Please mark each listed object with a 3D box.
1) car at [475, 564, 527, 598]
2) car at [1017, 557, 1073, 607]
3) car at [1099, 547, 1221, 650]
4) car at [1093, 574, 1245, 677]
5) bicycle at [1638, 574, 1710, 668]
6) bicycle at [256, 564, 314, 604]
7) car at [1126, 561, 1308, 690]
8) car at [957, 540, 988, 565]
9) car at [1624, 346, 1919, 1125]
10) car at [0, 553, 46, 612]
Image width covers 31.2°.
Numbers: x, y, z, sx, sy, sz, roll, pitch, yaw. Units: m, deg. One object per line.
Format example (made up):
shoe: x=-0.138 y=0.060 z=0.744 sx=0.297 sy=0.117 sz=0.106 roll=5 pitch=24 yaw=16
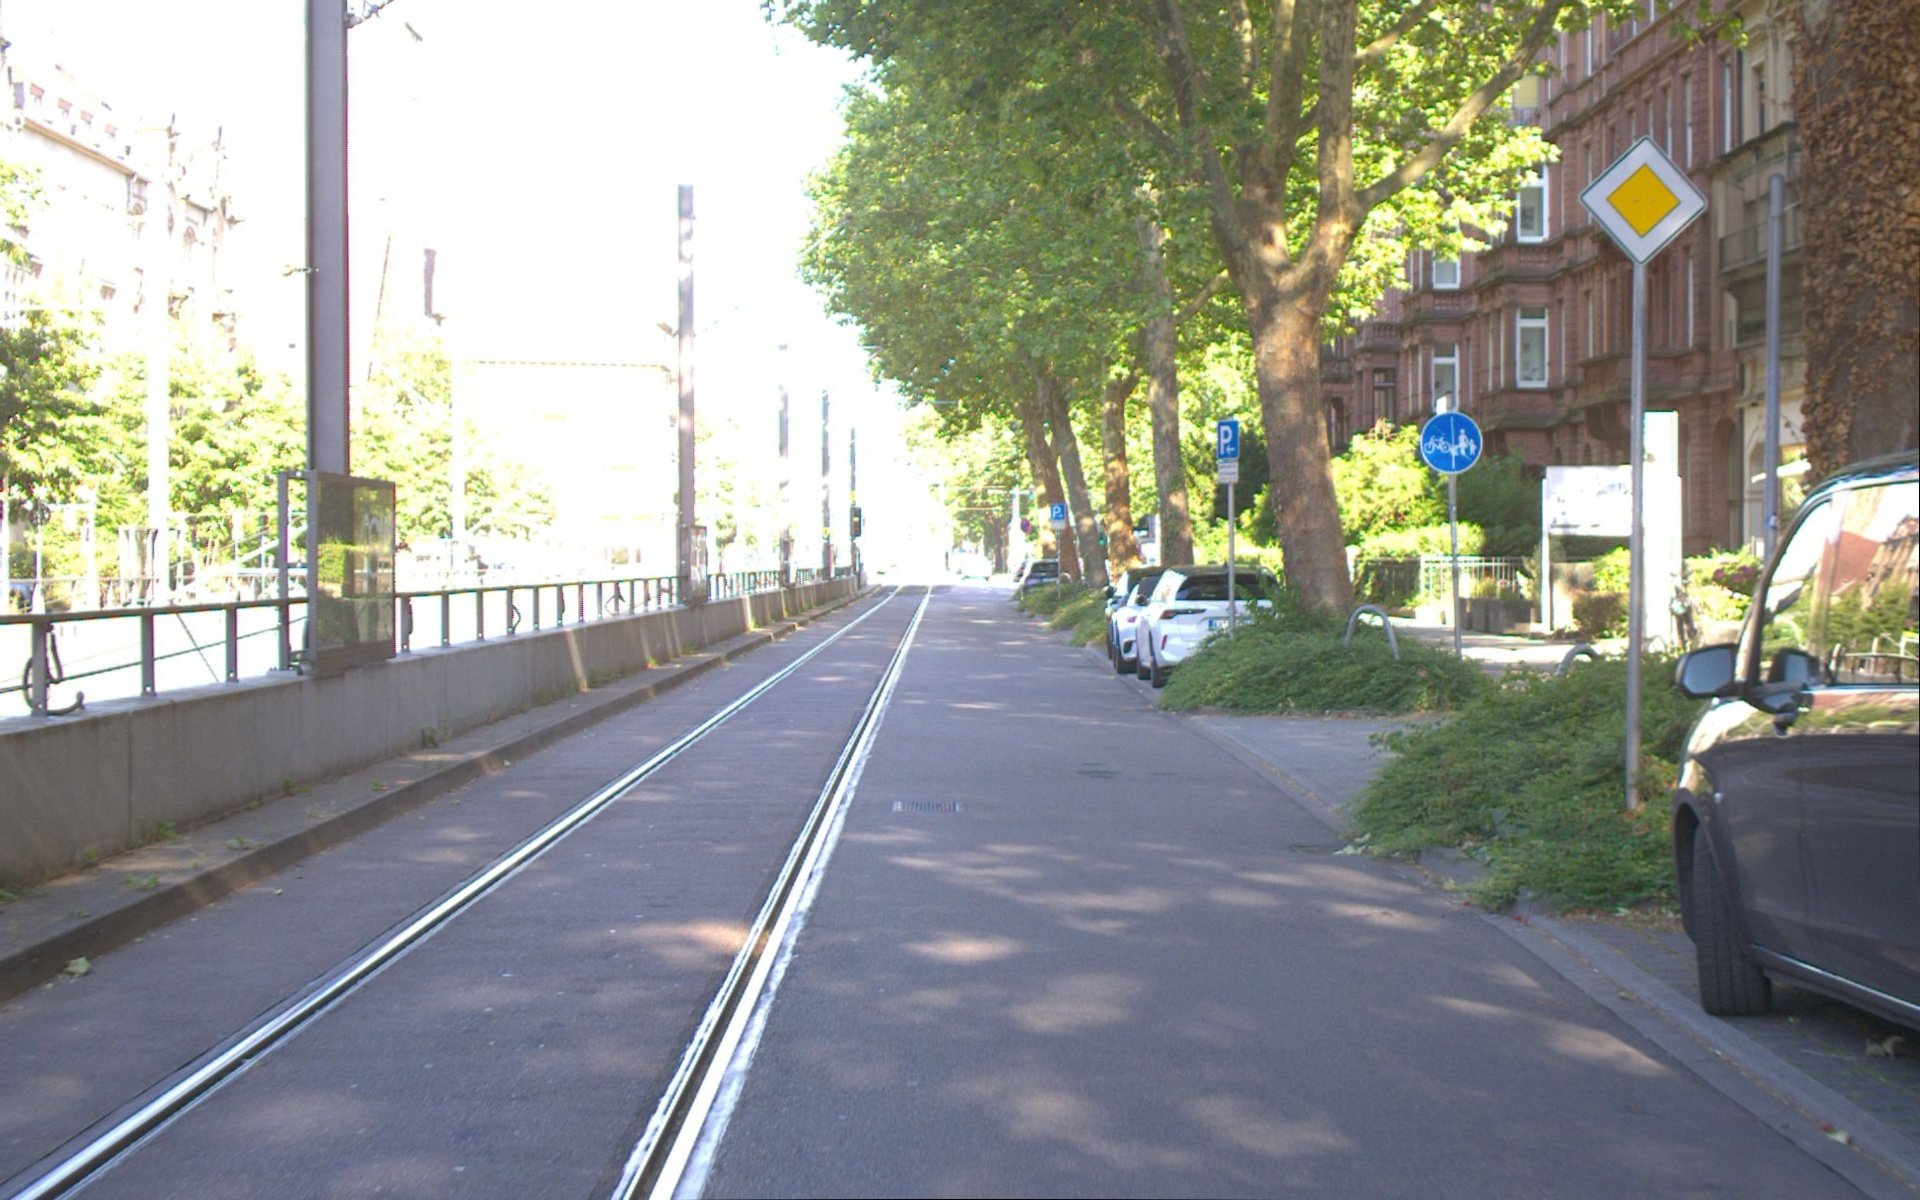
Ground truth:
car: x=-22.450 y=-0.962 z=168.231 sx=1.716 sy=1.550 sz=4.510 roll=3 pitch=1 yaw=2
car: x=2.734 y=-0.590 z=111.736 sx=1.616 sy=1.582 sz=4.417 roll=-1 pitch=1 yaw=-1
car: x=3.111 y=-0.048 z=54.217 sx=1.732 sy=1.531 sz=4.805 roll=1 pitch=1 yaw=1
car: x=2.829 y=0.322 z=47.237 sx=1.830 sy=1.322 sz=4.000 roll=0 pitch=1 yaw=0
bicycle: x=9.038 y=0.254 z=43.573 sx=0.475 sy=1.139 sz=1.896 roll=-2 pitch=1 yaw=0
bicycle: x=-21.798 y=-0.531 z=111.070 sx=1.731 sy=1.275 sz=0.599 roll=0 pitch=0 yaw=6
car: x=3.077 y=0.266 z=42.013 sx=1.802 sy=1.472 sz=4.647 roll=0 pitch=1 yaw=-1
car: x=0.749 y=-2.904 z=209.518 sx=1.745 sy=1.457 sz=3.645 roll=3 pitch=1 yaw=-1
car: x=3.442 y=0.326 z=9.685 sx=1.993 sy=2.007 sz=5.202 roll=0 pitch=1 yaw=-2
car: x=-28.216 y=-0.549 z=98.016 sx=3.986 sy=1.619 sz=1.826 roll=2 pitch=1 yaw=-9
